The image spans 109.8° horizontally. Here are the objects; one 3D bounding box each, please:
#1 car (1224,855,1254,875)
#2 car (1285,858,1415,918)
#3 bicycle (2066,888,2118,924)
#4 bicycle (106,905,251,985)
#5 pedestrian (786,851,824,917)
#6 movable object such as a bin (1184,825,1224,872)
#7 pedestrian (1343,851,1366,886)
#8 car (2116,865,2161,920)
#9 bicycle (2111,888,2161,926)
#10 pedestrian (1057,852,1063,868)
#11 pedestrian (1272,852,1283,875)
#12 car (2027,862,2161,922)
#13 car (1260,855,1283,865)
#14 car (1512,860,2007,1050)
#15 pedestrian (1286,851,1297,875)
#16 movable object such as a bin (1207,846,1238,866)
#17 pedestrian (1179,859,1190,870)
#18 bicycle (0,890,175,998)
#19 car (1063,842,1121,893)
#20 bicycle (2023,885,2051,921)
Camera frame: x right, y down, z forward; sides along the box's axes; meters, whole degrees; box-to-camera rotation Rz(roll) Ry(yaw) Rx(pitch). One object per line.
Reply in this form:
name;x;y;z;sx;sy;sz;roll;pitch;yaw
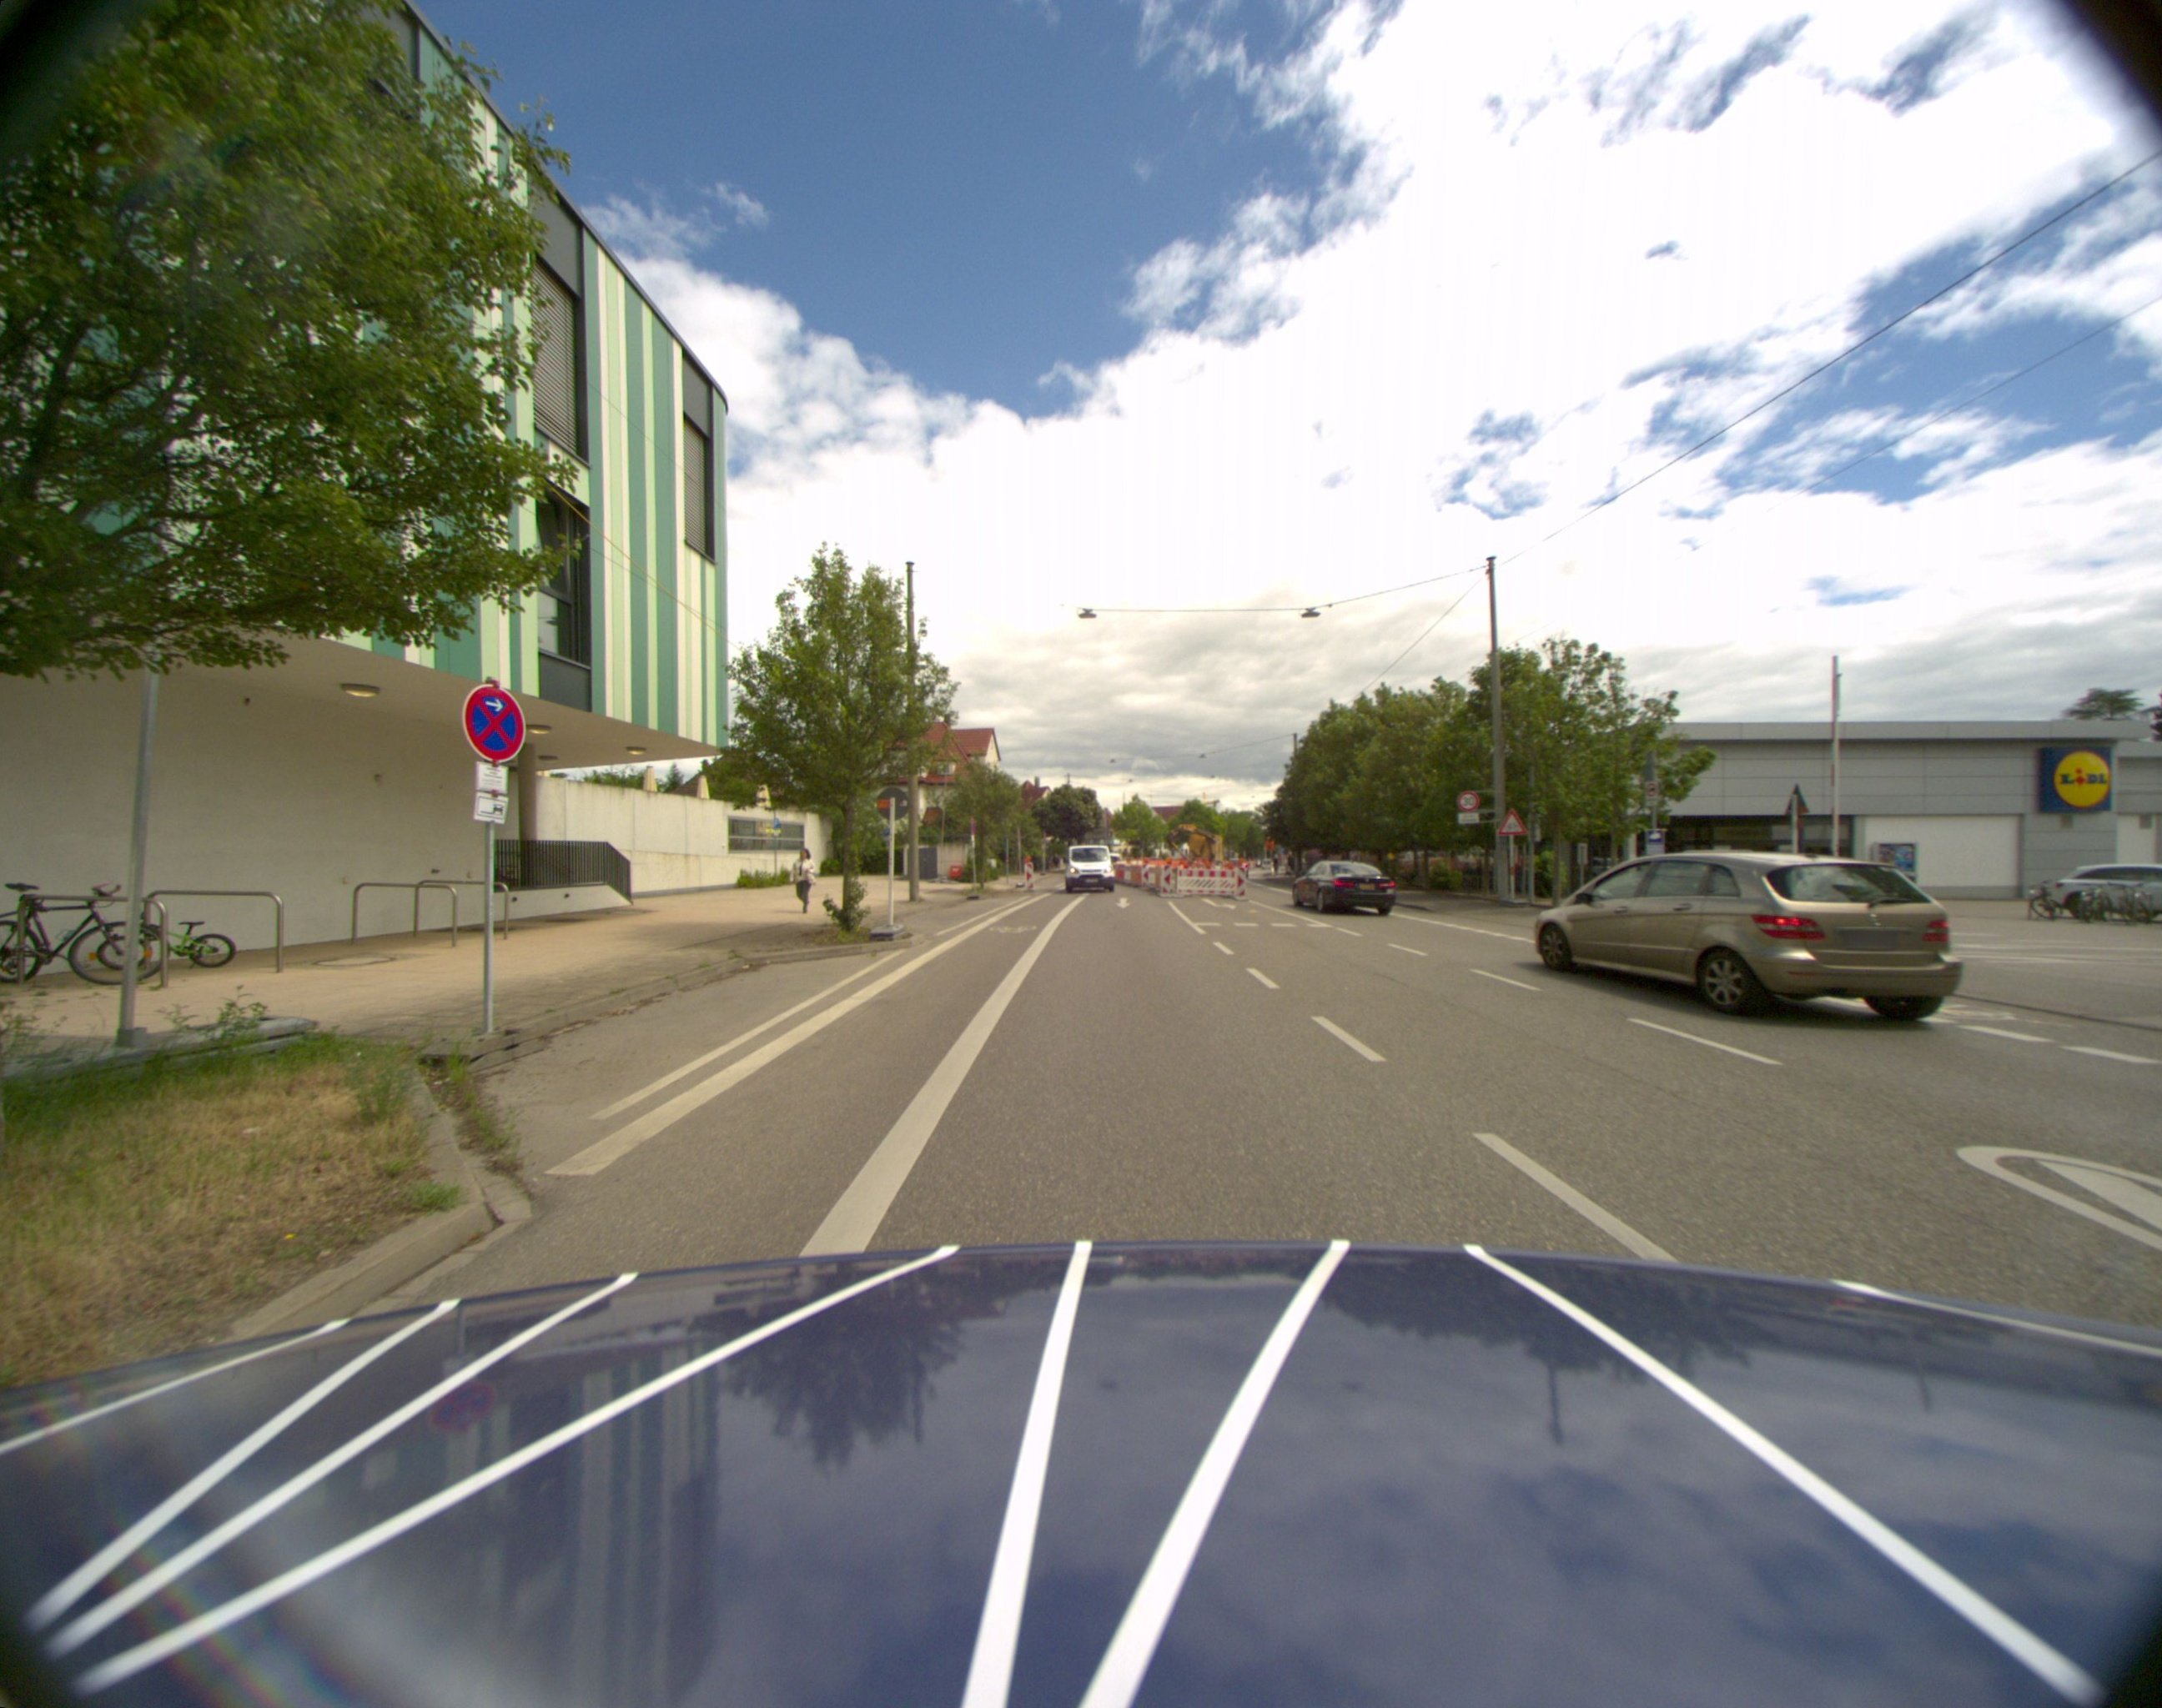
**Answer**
car;12.453;0.859;60.216;1.858;1.504;4.001;1;0;5
car;7.422;0.875;21.559;1.998;1.391;4.811;2;0;1
bicycle;27.786;1.421;20.869;1.887;0.951;0.348;0;1;-21
bicycle;-10.344;1.027;8.741;1.027;0.837;0.306;0;1;-31
pedestrian;-6.681;0.712;18.420;0.582;1.542;0.869;1;1;1
movable object such as a bin;12.233;-0.508;74.632;2.594;4.197;11.134;1;0;15
pedestrian;12.813;0.678;35.609;0.754;1.593;0.829;0;1;-1
car;32.631;1.162;20.871;1.998;1.563;4.672;0;1;0
bicycle;27.930;1.398;20.076;1.887;0.951;0.348;0;1;-21
pedestrian;-2.029;0.544;72.395;0.522;1.531;0.636;1;1;-5
pedestrian;15.469;0.732;59.861;0.695;1.836;0.624;1;1;29
car;30.174;1.049;21.077;1.998;1.563;4.672;0;1;0
car;27.655;0.842;110.372;1.855;1.444;4.008;0;0;35
car;7.019;0.879;8.673;1.754;1.546;4.402;1;0;1
pedestrian;16.338;0.682;58.983;0.625;1.836;0.624;1;1;30
movable object such as a bin;18.558;0.271;99.546;1.994;2.610;6.535;1;0;29
pedestrian;9.261;0.935;68.076;0.641;0.985;0.795;1;1;39
bicycle;-10.170;0.888;7.657;1.470;1.039;0.307;1;1;-11
car;0.377;0.541;33.259;1.999;2.002;5.510;-1;0;-4
bicycle;27.441;1.397;21.824;1.889;0.951;0.348;0;1;-43
